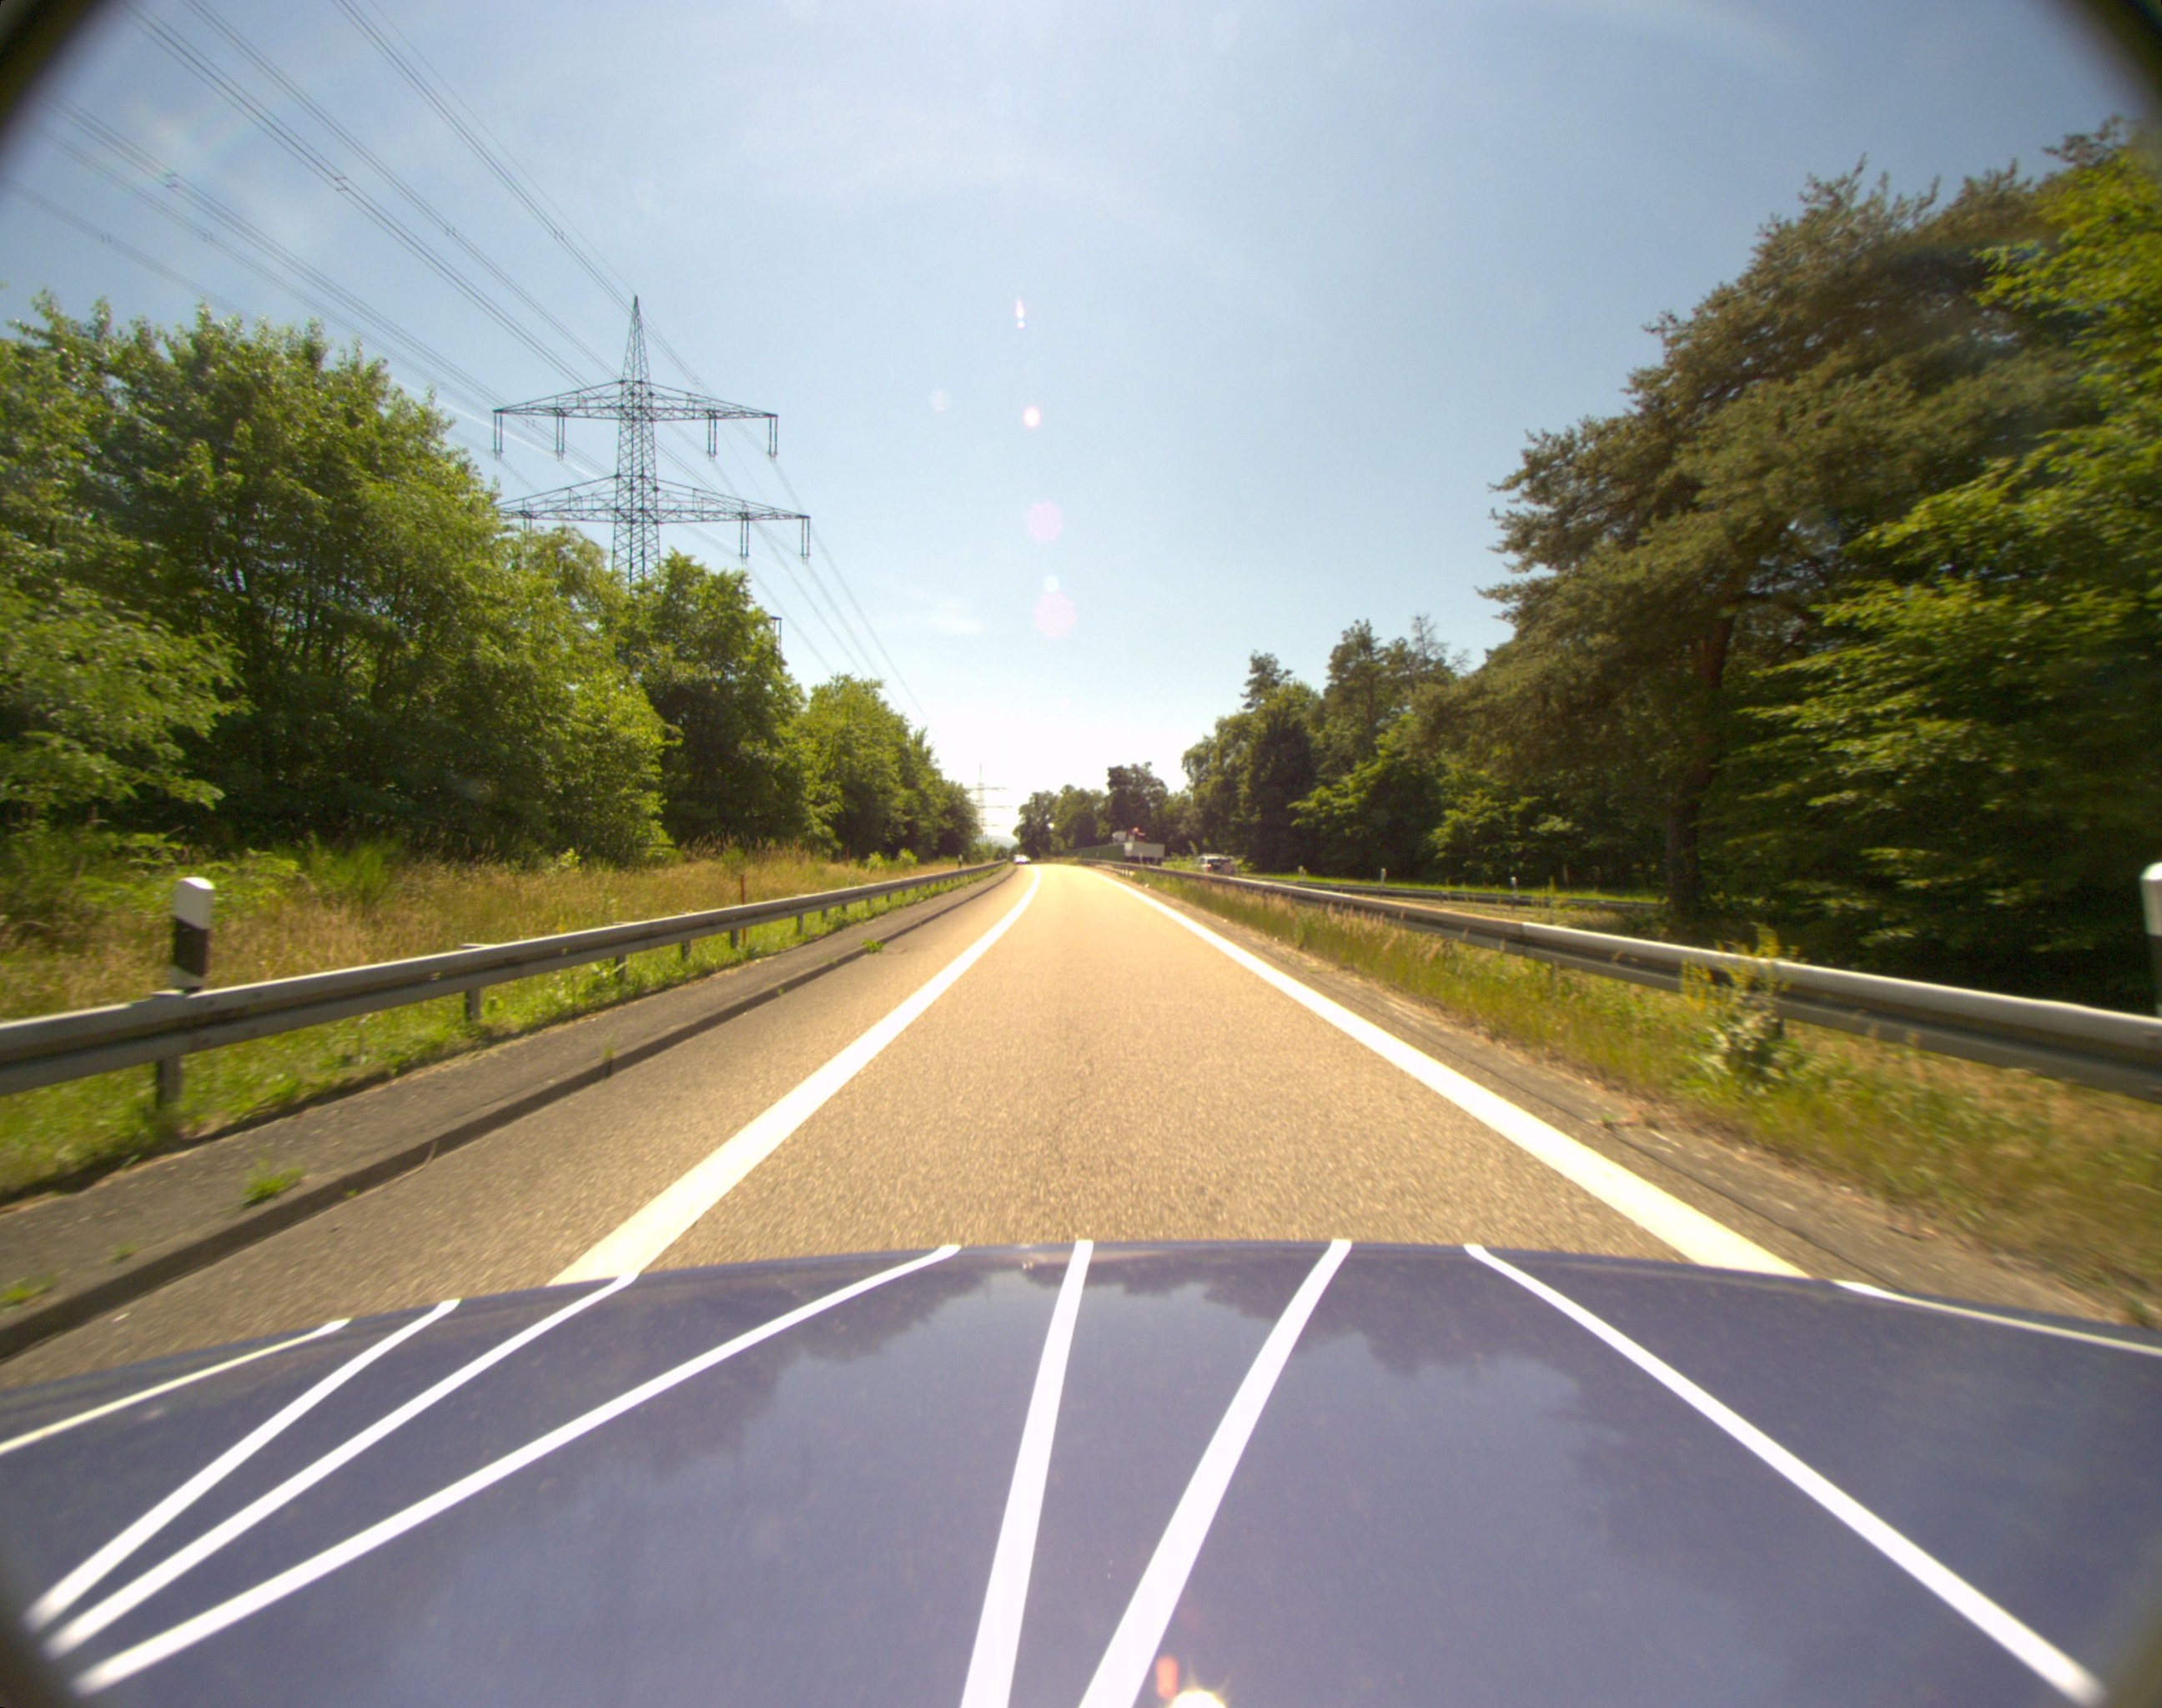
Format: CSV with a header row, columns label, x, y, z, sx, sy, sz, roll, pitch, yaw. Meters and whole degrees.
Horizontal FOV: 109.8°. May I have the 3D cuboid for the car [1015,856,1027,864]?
label,x,y,z,sx,sy,sz,roll,pitch,yaw
car,-12.323,1.279,156.158,2.000,1.674,3.996,-2,0,-11

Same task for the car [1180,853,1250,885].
label,x,y,z,sx,sy,sz,roll,pitch,yaw
car,7.419,0.794,42.672,2.001,1.631,5.265,1,1,-12

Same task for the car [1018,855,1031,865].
label,x,y,z,sx,sy,sz,roll,pitch,yaw
car,-10.378,1.070,139.584,2.000,1.674,3.996,-2,0,-11
